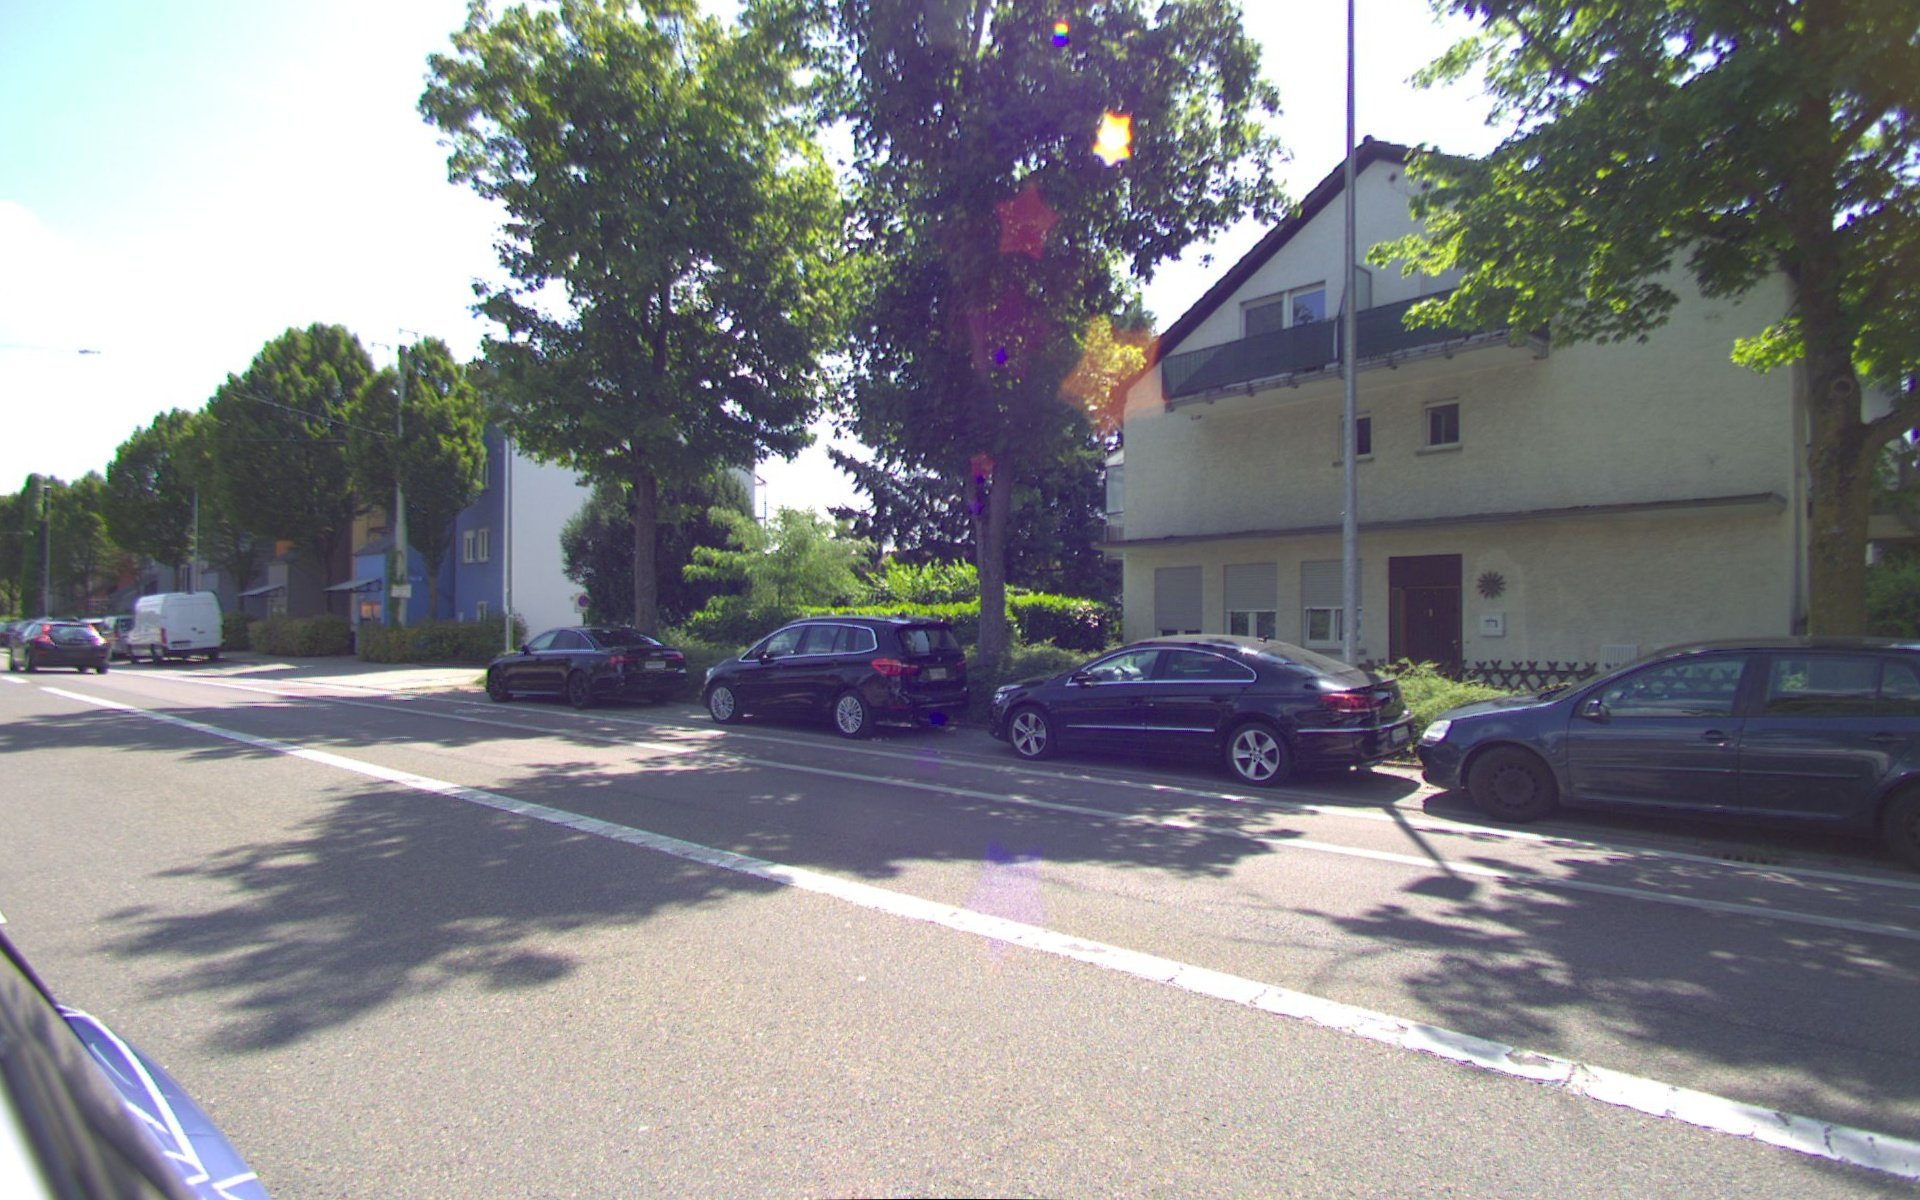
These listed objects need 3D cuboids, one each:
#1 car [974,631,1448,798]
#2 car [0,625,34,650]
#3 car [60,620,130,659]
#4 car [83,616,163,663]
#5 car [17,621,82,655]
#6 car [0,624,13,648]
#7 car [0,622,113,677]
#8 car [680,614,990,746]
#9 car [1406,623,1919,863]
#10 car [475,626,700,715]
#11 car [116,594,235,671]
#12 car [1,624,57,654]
[{"bbox_3d":[2.537,1.060,10.978,4.691,1.383,1.757,-1,0,39],"label":"car"},{"bbox_3d":[-58.549,2.277,62.003,4.954,1.457,1.726,-1,0,36],"label":"car"},{"bbox_3d":[-41.415,1.852,48.418,4.899,1.765,1.699,-1,-1,39],"label":"car"},{"bbox_3d":[-37.051,1.715,44.730,5.358,1.909,1.788,-1,0,40],"label":"car"},{"bbox_3d":[-49.459,2.058,54.958,4.880,1.729,1.734,-2,-3,37],"label":"car"},{"bbox_3d":[-63.356,2.335,65.717,4.883,1.519,1.642,0,1,34],"label":"car"},{"bbox_3d":[-25.065,1.364,28.044,4.001,1.409,1.661,-1,-4,39],"label":"car"},{"bbox_3d":[-1.931,1.042,14.698,4.632,1.616,1.757,-1,-1,39],"label":"car"},{"bbox_3d":[5.873,0.954,7.892,4.045,1.492,1.757,-1,-1,40],"label":"car"},{"bbox_3d":[-7.086,1.227,19.013,4.799,1.467,1.757,-1,-2,39],"label":"car"},{"bbox_3d":[-30.794,1.228,39.616,7.031,2.671,2.300,-2,2,41],"label":"car"},{"bbox_3d":[-53.711,2.223,58.354,4.278,1.630,1.640,0,-2,37],"label":"car"}]
